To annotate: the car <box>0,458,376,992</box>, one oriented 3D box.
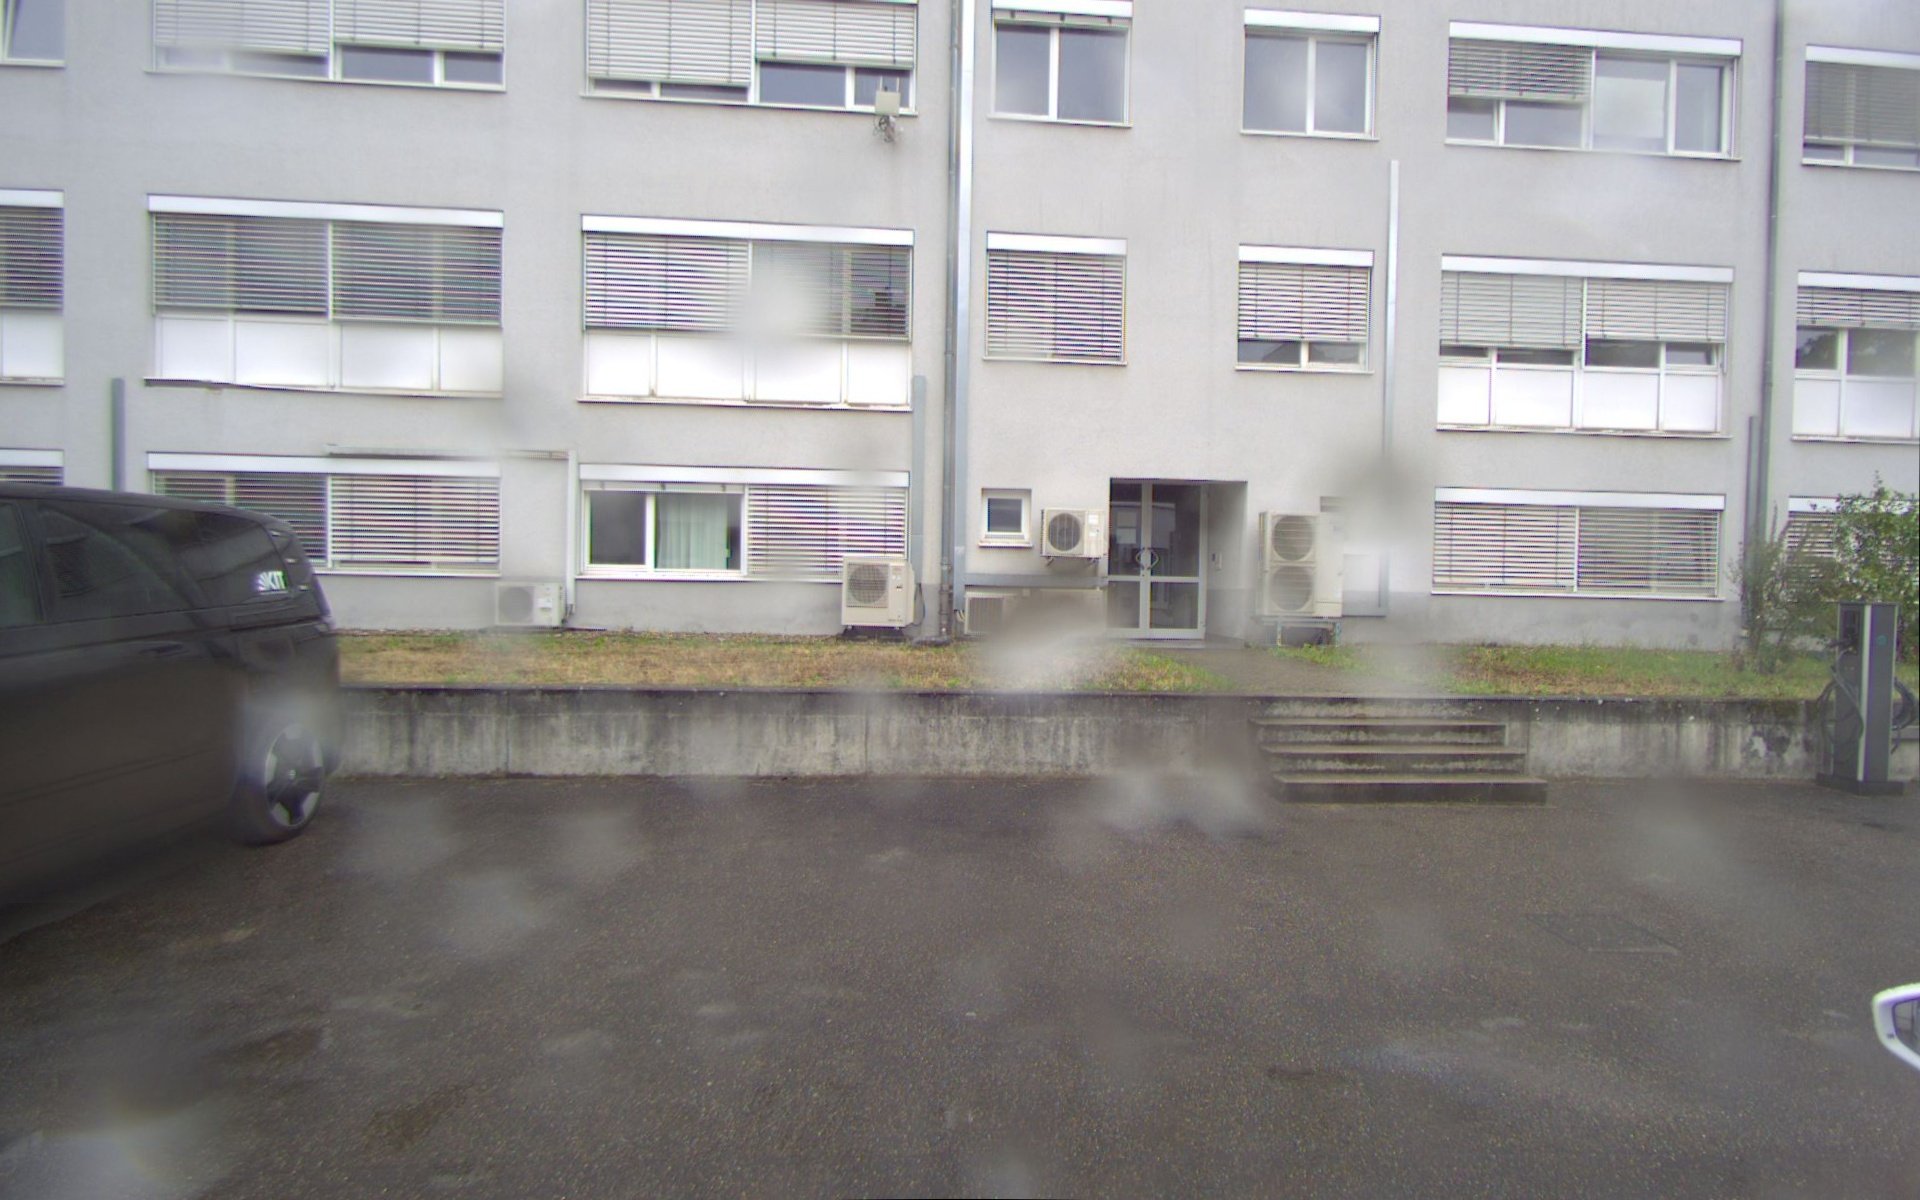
[{"bbox_3d":[-4.507,0.438,4.048,2.008,1.923,4.518,0,1,-6],"label":"car"}]
